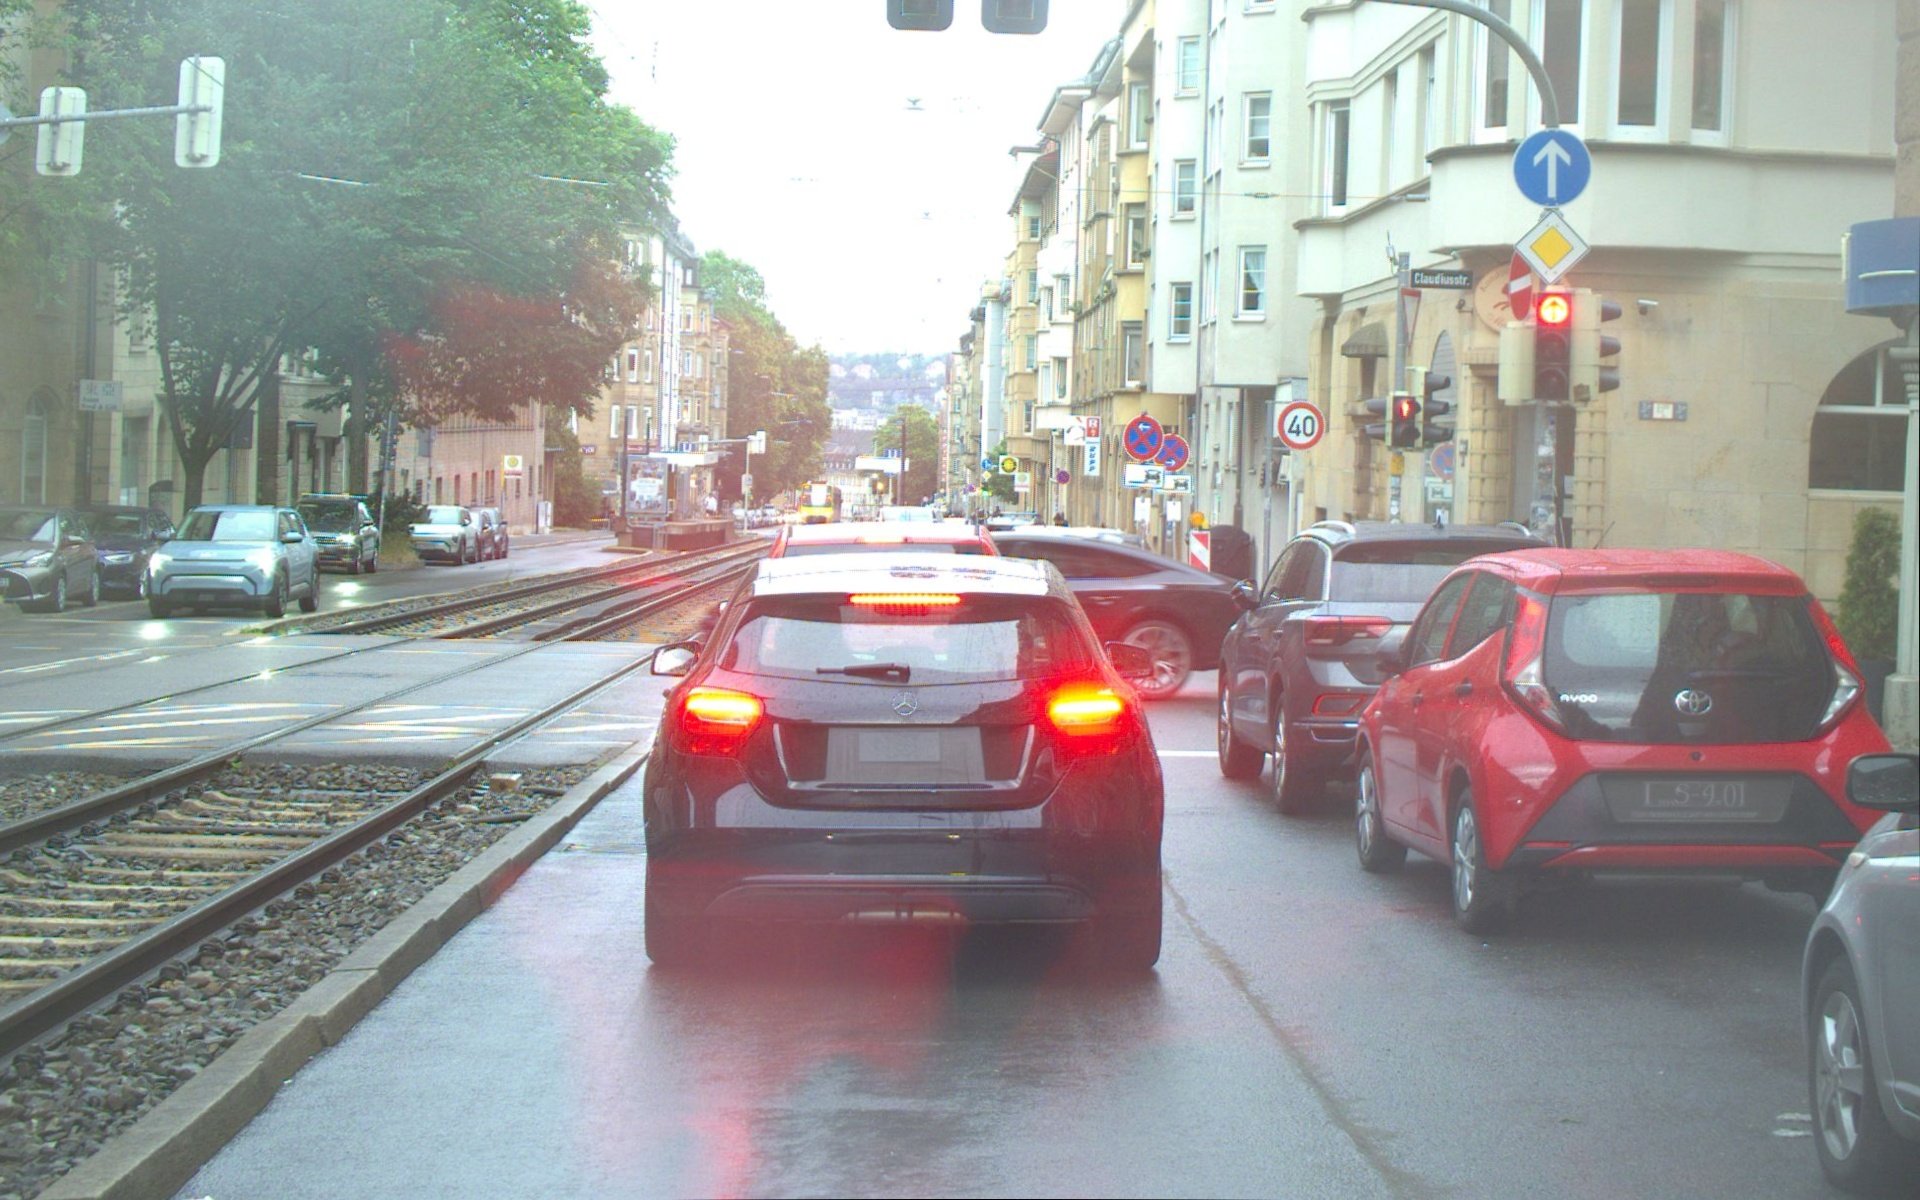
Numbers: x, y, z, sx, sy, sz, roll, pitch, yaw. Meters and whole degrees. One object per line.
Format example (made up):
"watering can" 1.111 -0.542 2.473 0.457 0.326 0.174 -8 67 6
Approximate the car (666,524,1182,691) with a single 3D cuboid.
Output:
"car" -0.372 0.050 30.151 4.264 1.284 2.001 2 1 -8

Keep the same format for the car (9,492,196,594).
"car" -13.589 -0.920 54.702 1.993 1.512 4.000 2 1 -1

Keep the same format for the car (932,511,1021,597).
"car" 0.342 -0.974 74.618 1.852 1.791 3.812 1 0 -1

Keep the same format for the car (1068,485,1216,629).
"car" 2.644 -0.616 50.741 1.898 2.021 4.176 1 0 -1

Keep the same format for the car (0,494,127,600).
"car" -13.309 -0.760 49.312 1.771 1.459 4.000 1 1 -1

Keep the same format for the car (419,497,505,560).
"car" -14.587 -2.102 100.881 1.932 1.722 4.186 2 1 -1

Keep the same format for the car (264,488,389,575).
"car" -13.855 -1.495 75.360 1.993 1.787 4.000 2 1 -1

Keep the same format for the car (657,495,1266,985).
"car" -0.057 0.437 12.905 1.946 1.559 3.643 1 0 -2

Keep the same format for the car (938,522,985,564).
"car" 0.046 -2.423 145.629 1.909 1.700 4.000 2 1 -1

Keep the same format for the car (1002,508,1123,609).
"car" 1.840 -0.737 63.082 1.768 1.769 4.001 1 0 -5

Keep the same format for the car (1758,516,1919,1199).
"car" 2.819 0.632 6.804 1.638 1.537 3.466 2 1 0

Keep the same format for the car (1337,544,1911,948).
"car" 2.600 0.512 14.138 1.602 1.414 3.149 1 1 -2

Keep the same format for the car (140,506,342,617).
"car" -10.310 -0.564 49.570 1.796 1.543 3.999 0 1 5

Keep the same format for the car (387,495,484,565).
"car" -14.139 -1.896 92.822 1.993 1.787 4.000 2 1 -1

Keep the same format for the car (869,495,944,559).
"car" -1.438 -1.989 93.929 1.921 1.649 4.000 2 1 0

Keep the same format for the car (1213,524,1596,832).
"car" 2.400 0.355 19.419 1.549 1.503 4.000 2 1 -1

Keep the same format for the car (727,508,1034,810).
"car" -0.430 0.262 19.747 1.536 1.505 4.000 2 1 -1
